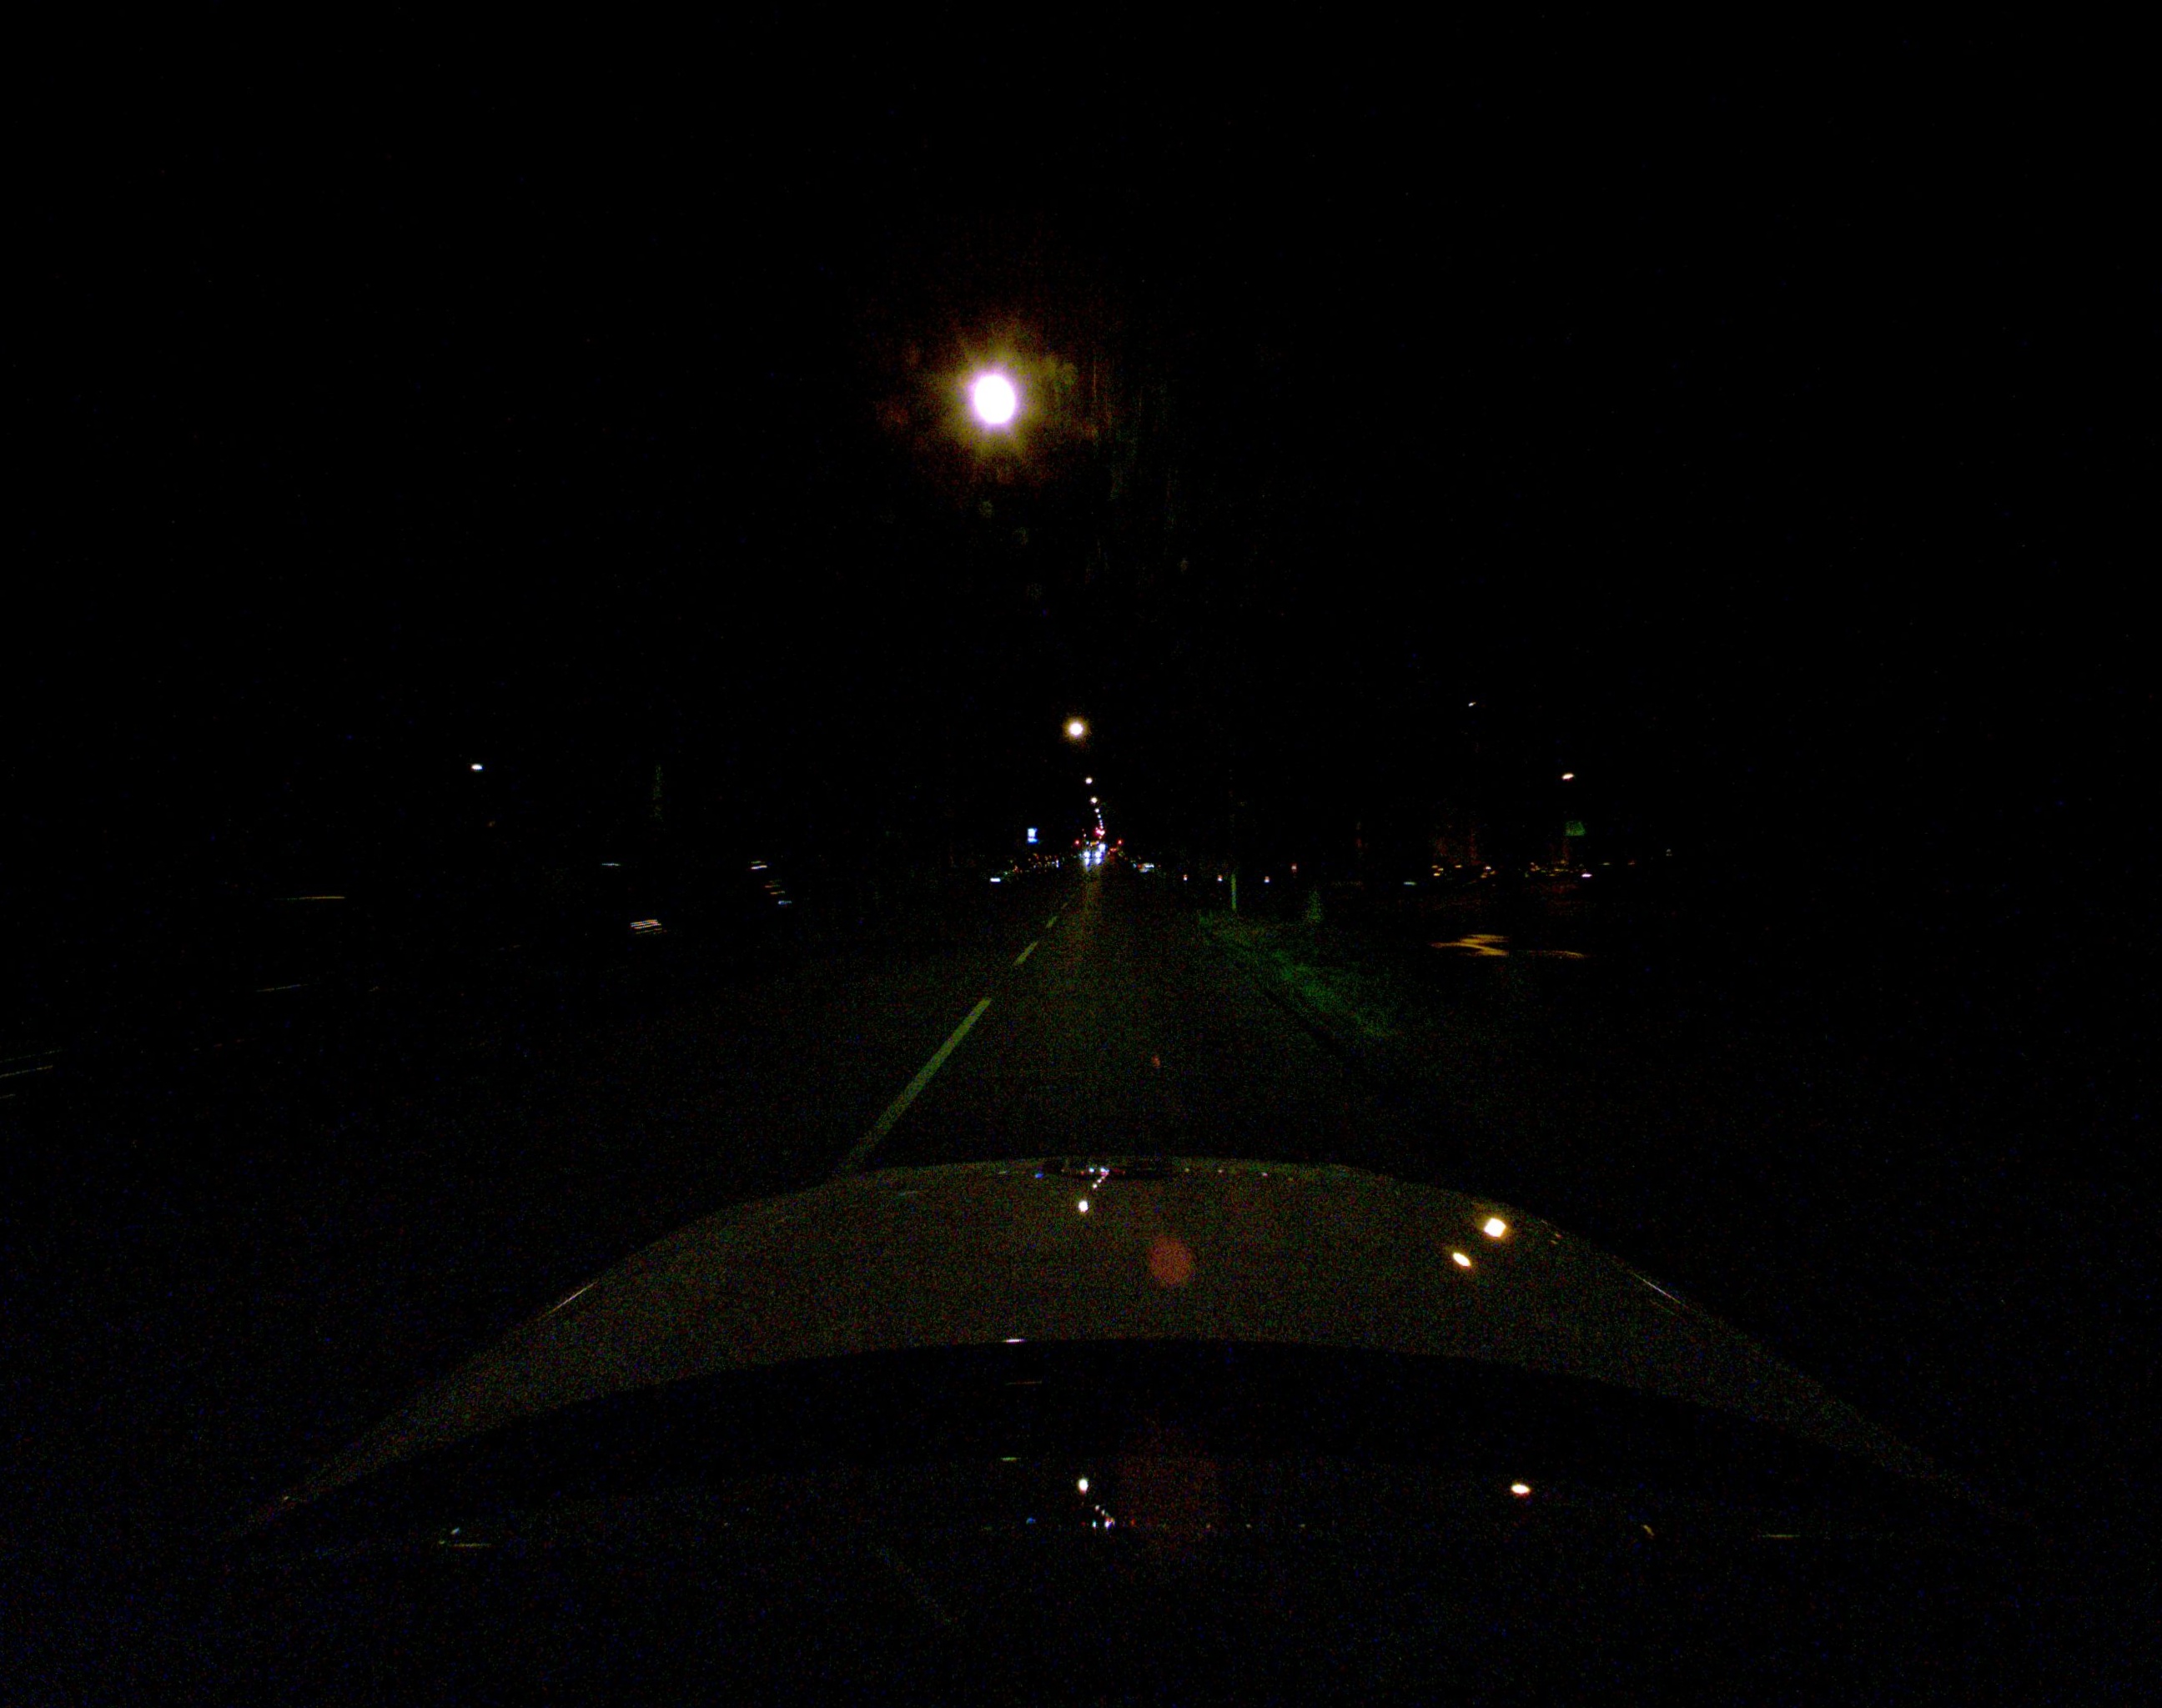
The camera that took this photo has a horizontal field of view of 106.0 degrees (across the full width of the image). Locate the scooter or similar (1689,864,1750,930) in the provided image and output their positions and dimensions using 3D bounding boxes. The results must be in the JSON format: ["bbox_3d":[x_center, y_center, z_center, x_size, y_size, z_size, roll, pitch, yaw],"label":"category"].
[{"bbox_3d":[11.854,0.775,15.151,0.494,1.146,1.676,-3,-2,26],"label":"scooter or similar"}]

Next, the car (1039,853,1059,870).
[{"bbox_3d":[-3.103,0.691,79.233,1.698,1.491,4.229,-2,1,1],"label":"car"}]

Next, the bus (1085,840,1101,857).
[{"bbox_3d":[2.242,-1.048,153.000,2.827,3.177,10.503,0,1,2],"label":"bus"}]

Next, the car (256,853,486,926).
[{"bbox_3d":[-14.272,0.661,16.655,1.551,1.317,3.562,0,0,0],"label":"car"}]

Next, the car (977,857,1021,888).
[{"bbox_3d":[-4.215,0.921,42.524,1.808,1.484,4.347,0,0,0],"label":"car"}]

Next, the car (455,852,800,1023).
[{"bbox_3d":[-5.249,0.823,10.320,1.843,1.650,4.668,-1,0,-2],"label":"car"}]

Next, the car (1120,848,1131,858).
[{"bbox_3d":[7.844,-0.233,143.132,1.805,1.594,4.276,-2,1,2],"label":"car"}]

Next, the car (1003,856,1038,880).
[{"bbox_3d":[-3.899,0.896,53.186,1.829,1.446,4.545,-1,1,1],"label":"car"}]

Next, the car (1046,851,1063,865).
[{"bbox_3d":[-2.897,0.464,90.989,1.631,1.498,2.767,-1,-1,3],"label":"car"}]

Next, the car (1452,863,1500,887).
[{"bbox_3d":[23.938,1.221,49.343,1.752,1.341,3.944,1,0,39],"label":"car"}]

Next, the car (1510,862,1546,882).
[{"bbox_3d":[34.495,1.368,62.805,1.752,1.501,3.944,0,-1,39],"label":"car"}]

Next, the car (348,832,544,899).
[{"bbox_3d":[-17.135,0.309,22.253,1.745,1.606,3.992,2,-1,11],"label":"car"}]

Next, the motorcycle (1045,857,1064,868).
[{"bbox_3d":[-2.673,0.872,83.471,0.719,1.147,2.183,-2,1,-41],"label":"motorcycle"}]

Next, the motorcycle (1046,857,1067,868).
[{"bbox_3d":[-2.554,0.851,85.488,2.180,1.131,0.720,-1,1,34],"label":"motorcycle"}]

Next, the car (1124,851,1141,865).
[{"bbox_3d":[5.972,0.453,94.296,1.756,1.476,4.083,-2,1,2],"label":"car"}]

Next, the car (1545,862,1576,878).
[{"bbox_3d":[45.112,1.485,76.554,1.752,1.441,3.943,0,-1,42],"label":"car"}]

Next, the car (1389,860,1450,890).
[{"bbox_3d":[16.780,1.015,40.252,1.779,1.417,3.861,0,-1,39],"label":"car"}]

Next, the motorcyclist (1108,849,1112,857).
[{"bbox_3d":[6.157,-0.157,170.730,0.845,1.752,0.806,0,-1,2],"label":"motorcyclist"}]

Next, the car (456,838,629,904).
[{"bbox_3d":[-14.278,0.420,21.944,1.750,1.538,4.188,2,0,1],"label":"car"}]

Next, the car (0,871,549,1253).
[{"bbox_3d":[-5.298,0.888,5.026,1.643,1.514,3.699,0,0,-2],"label":"car"}]

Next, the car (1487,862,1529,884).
[{"bbox_3d":[28.609,1.271,54.546,1.752,1.417,3.944,0,-1,39],"label":"car"}]

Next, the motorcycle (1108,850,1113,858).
[{"bbox_3d":[6.159,0.046,170.727,0.927,1.752,2.626,0,-1,2],"label":"motorcycle"}]

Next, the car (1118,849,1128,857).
[{"bbox_3d":[8.068,-0.238,156.465,1.861,1.526,4.152,-2,1,2],"label":"car"}]

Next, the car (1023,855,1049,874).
[{"bbox_3d":[-3.659,0.819,66.840,1.857,1.491,4.281,0,0,1],"label":"car"}]

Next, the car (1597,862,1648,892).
[{"bbox_3d":[27.084,1.120,40.695,1.779,1.417,3.861,0,-1,39],"label":"car"}]

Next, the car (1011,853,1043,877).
[{"bbox_3d":[-3.813,0.767,58.357,1.828,1.619,4.547,0,0,2],"label":"car"}]

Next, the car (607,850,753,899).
[{"bbox_3d":[-13.079,0.644,26.642,3.961,1.425,1.767,2,0,11],"label":"car"}]

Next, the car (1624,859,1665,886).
[{"bbox_3d":[37.207,1.199,53.719,1.974,1.704,4.056,0,-1,38],"label":"car"}]

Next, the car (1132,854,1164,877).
[{"bbox_3d":[4.523,0.769,55.859,1.838,1.417,4.646,-4,-1,1],"label":"car"}]

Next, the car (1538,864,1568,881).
[{"bbox_3d":[42.088,1.600,72.573,1.752,1.441,3.944,0,-1,39],"label":"car"}]

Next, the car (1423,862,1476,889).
[{"bbox_3d":[20.399,1.170,45.013,1.779,1.417,3.861,0,-1,39],"label":"car"}]

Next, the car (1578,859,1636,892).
[{"bbox_3d":[23.738,0.924,36.671,1.779,1.417,3.861,0,-1,39],"label":"car"}]

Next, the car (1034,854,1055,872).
[{"bbox_3d":[-3.205,0.791,71.492,1.616,1.491,3.781,0,0,1],"label":"car"}]

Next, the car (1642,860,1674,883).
[{"bbox_3d":[46.295,1.370,65.393,1.974,1.763,4.025,0,-1,33],"label":"car"}]

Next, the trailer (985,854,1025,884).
[{"bbox_3d":[-4.359,0.841,47.155,1.629,1.639,3.445,0,0,6],"label":"trailer"}]

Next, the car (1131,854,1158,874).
[{"bbox_3d":[4.742,0.730,61.546,1.764,1.448,4.020,-1,0,1],"label":"car"}]

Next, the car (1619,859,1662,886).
[{"bbox_3d":[34.078,1.110,49.569,1.779,1.579,3.861,0,-1,40],"label":"car"}]
